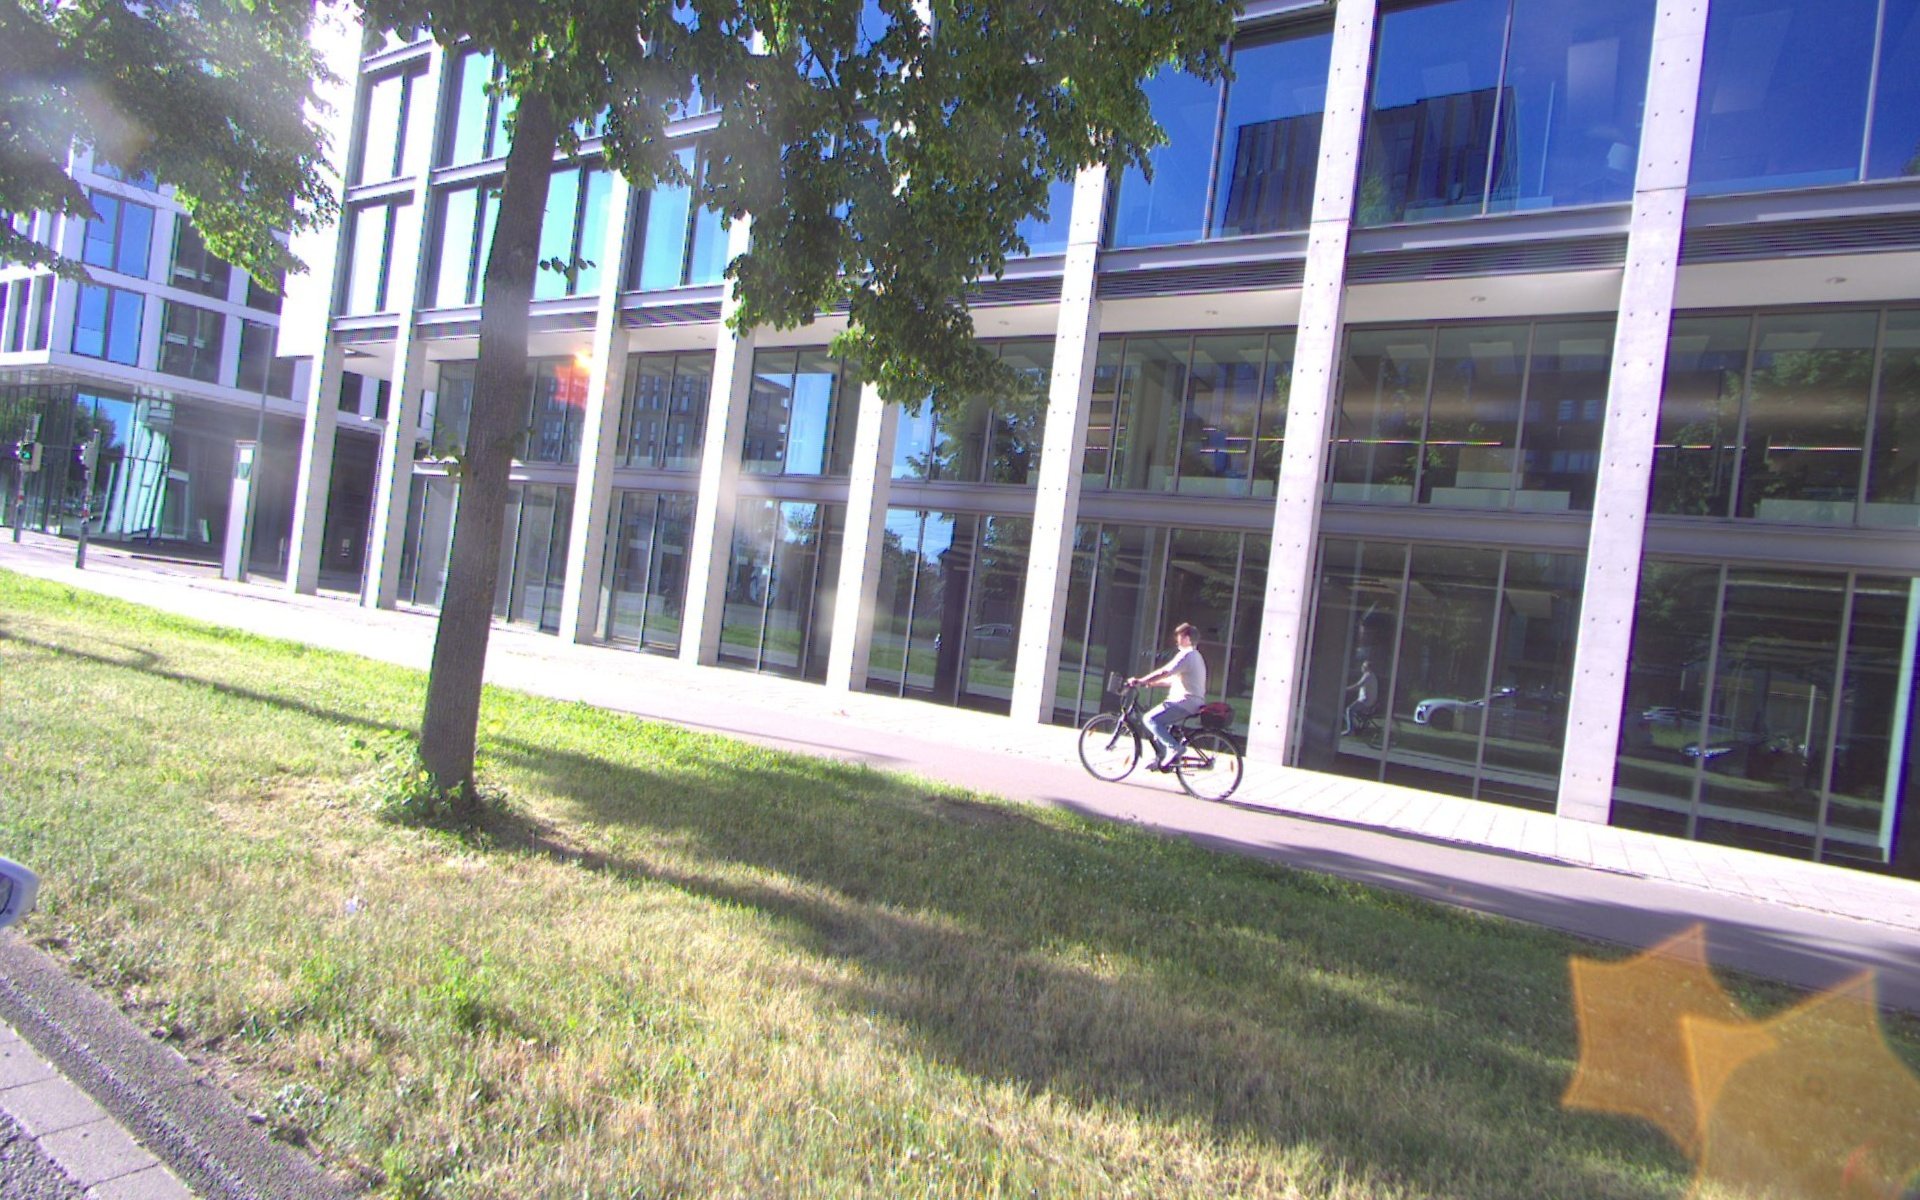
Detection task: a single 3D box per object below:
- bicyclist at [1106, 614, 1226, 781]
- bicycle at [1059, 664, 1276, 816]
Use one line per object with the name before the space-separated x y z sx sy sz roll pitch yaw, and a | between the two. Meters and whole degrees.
bicyclist | 2.122 0.983 10.337 0.835 1.550 0.772 7 0 31
bicycle | 2.107 1.379 10.321 1.929 1.189 0.742 7 1 32
